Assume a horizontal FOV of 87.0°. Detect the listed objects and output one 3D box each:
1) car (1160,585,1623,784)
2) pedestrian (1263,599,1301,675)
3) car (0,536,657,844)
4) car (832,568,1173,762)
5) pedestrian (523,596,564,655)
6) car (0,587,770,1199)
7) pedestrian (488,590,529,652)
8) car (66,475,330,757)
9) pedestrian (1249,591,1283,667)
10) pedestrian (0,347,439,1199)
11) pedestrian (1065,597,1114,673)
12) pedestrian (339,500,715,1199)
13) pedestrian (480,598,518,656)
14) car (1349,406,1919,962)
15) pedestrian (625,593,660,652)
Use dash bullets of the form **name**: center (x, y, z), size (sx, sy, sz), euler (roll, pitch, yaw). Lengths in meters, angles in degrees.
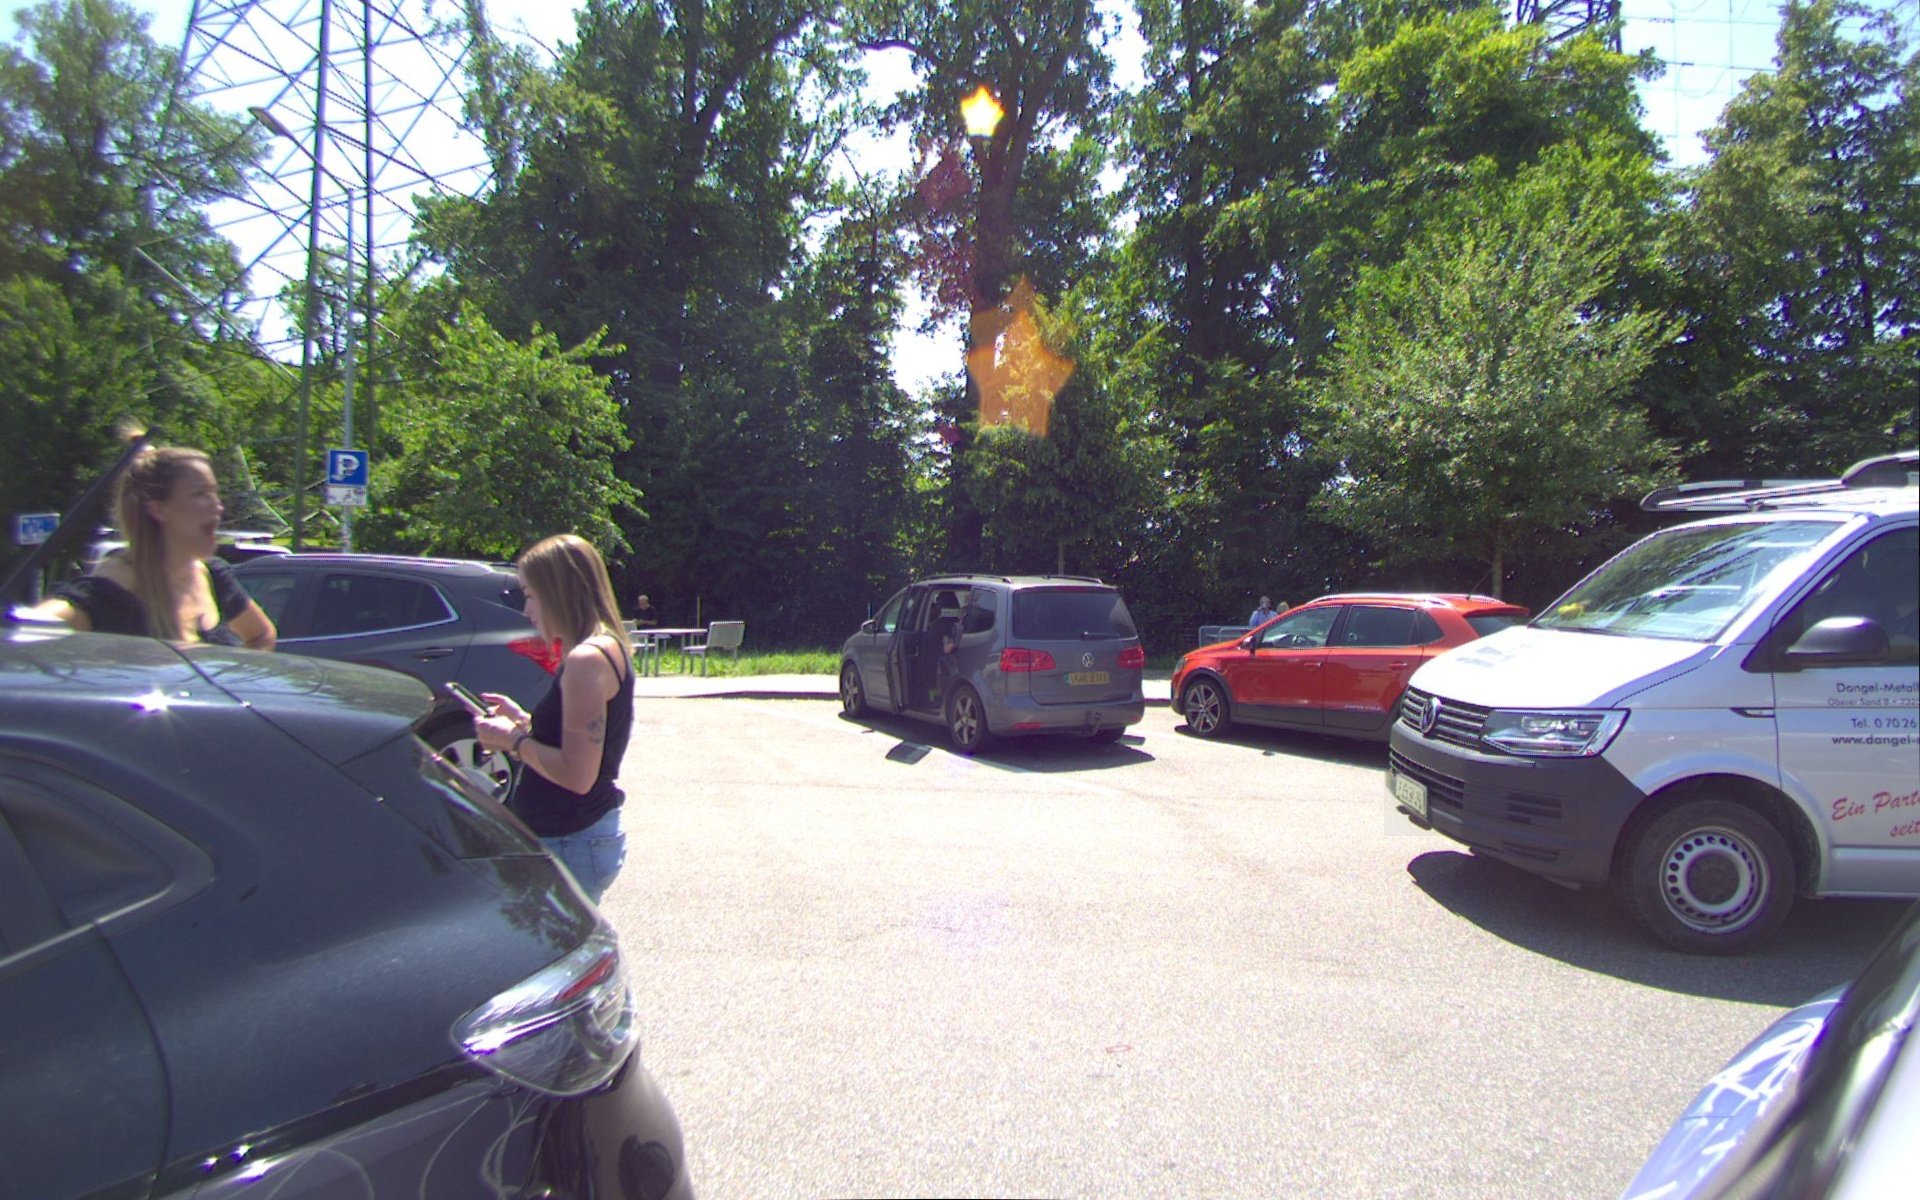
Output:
- **car**: center (3.854, 0.610, 9.646), size (1.604, 1.476, 3.810), euler (0, 1, -34)
- **pedestrian**: center (5.695, 0.645, 17.899), size (0.495, 1.316, 0.491), euler (1, -1, 0)
- **car**: center (-4.121, 0.483, 6.530), size (3.965, 1.644, 1.853), euler (1, 0, -11)
- **car**: center (0.224, 0.505, 10.553), size (1.717, 1.611, 3.961), euler (0, 1, -30)
- **pedestrian**: center (-9.707, 0.589, 23.581), size (0.722, 1.343, 0.669), euler (1, -1, -39)
- **car**: center (-2.120, 0.722, 0.591), size (1.615, 1.503, 3.706), euler (0, -1, 44)
- **pedestrian**: center (-10.939, 0.497, 24.518), size (0.722, 1.478, 0.669), euler (1, -1, -39)
- **car**: center (-8.058, 0.094, 10.630), size (1.885, 2.353, 4.089), euler (0, 1, -40)
- **pedestrian**: center (5.757, 0.537, 19.054), size (0.495, 1.393, 0.491), euler (1, -1, 0)
- **pedestrian**: center (-1.927, 0.442, 2.486), size (0.760, 1.896, 0.916), euler (1, -1, 5)
- **pedestrian**: center (2.145, 0.580, 16.834), size (0.660, 1.235, 0.682), euler (1, -2, -5)
- **pedestrian**: center (-1.043, 0.582, 2.577), size (0.637, 1.606, 0.654), euler (1, -1, 3)
- **pedestrian**: center (-10.426, 0.605, 22.883), size (0.630, 1.287, 0.579), euler (1, -1, -39)
- **car**: center (4.877, 0.344, 4.871), size (5.218, 2.177, 1.997), euler (1, -1, 5)
- **pedestrian**: center (-6.678, 0.470, 21.307), size (0.550, 1.229, 0.599), euler (1, -1, -1)
